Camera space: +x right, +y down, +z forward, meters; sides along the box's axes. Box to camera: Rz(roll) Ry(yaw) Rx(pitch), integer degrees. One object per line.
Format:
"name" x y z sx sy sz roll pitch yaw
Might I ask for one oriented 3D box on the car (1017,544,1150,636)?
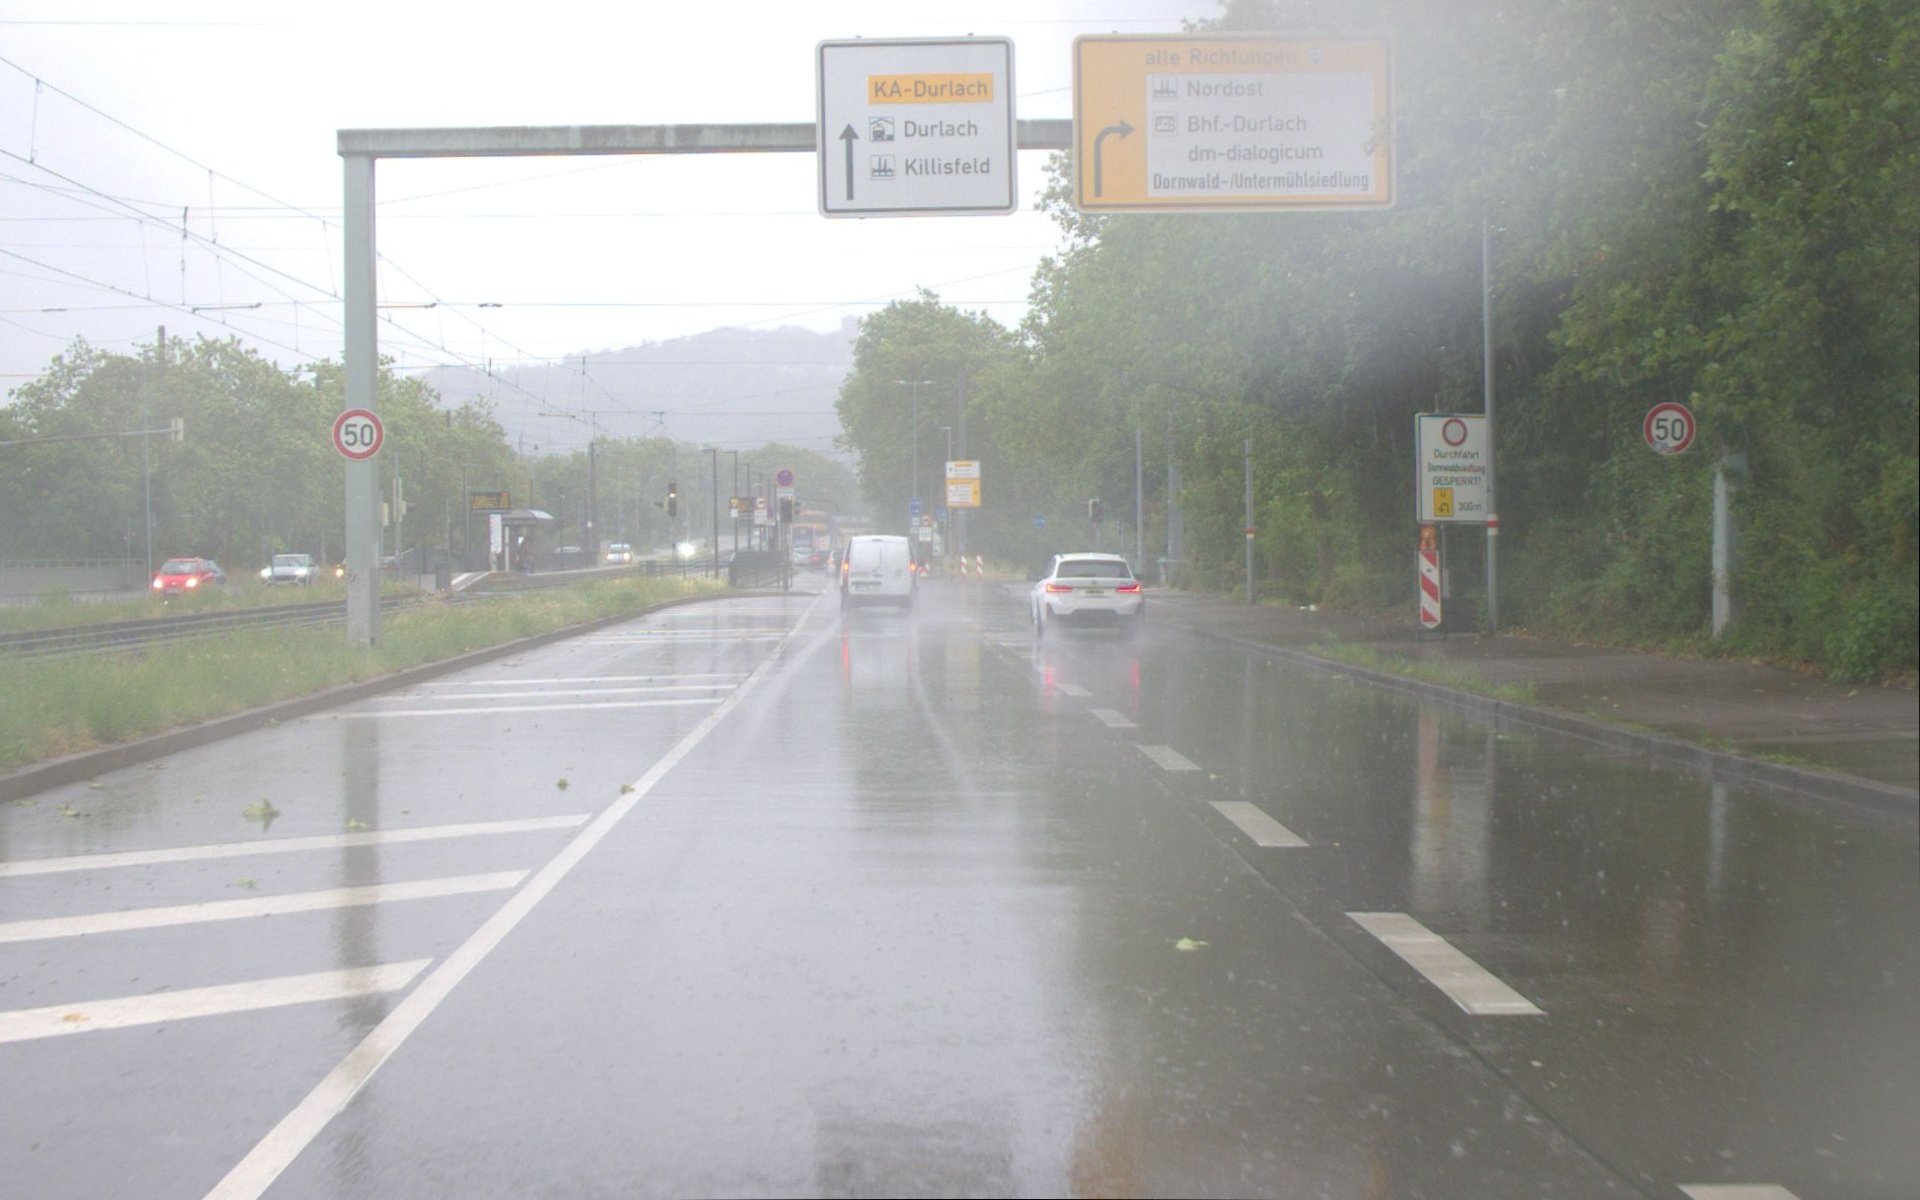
"car" 2.087 -0.202 59.272 1.948 1.531 4.467 0 1 -2

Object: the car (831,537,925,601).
"car" -1.871 -0.720 78.469 2.077 1.415 4.000 0 1 -1

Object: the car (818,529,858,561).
"car" -6.245 -2.832 176.373 1.993 1.542 4.001 1 1 -2

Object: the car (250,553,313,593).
"car" -25.562 -1.039 129.655 1.720 1.489 4.000 0 1 -2

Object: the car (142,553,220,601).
"car" -24.687 -0.745 109.027 1.720 1.489 4.000 0 1 -2
